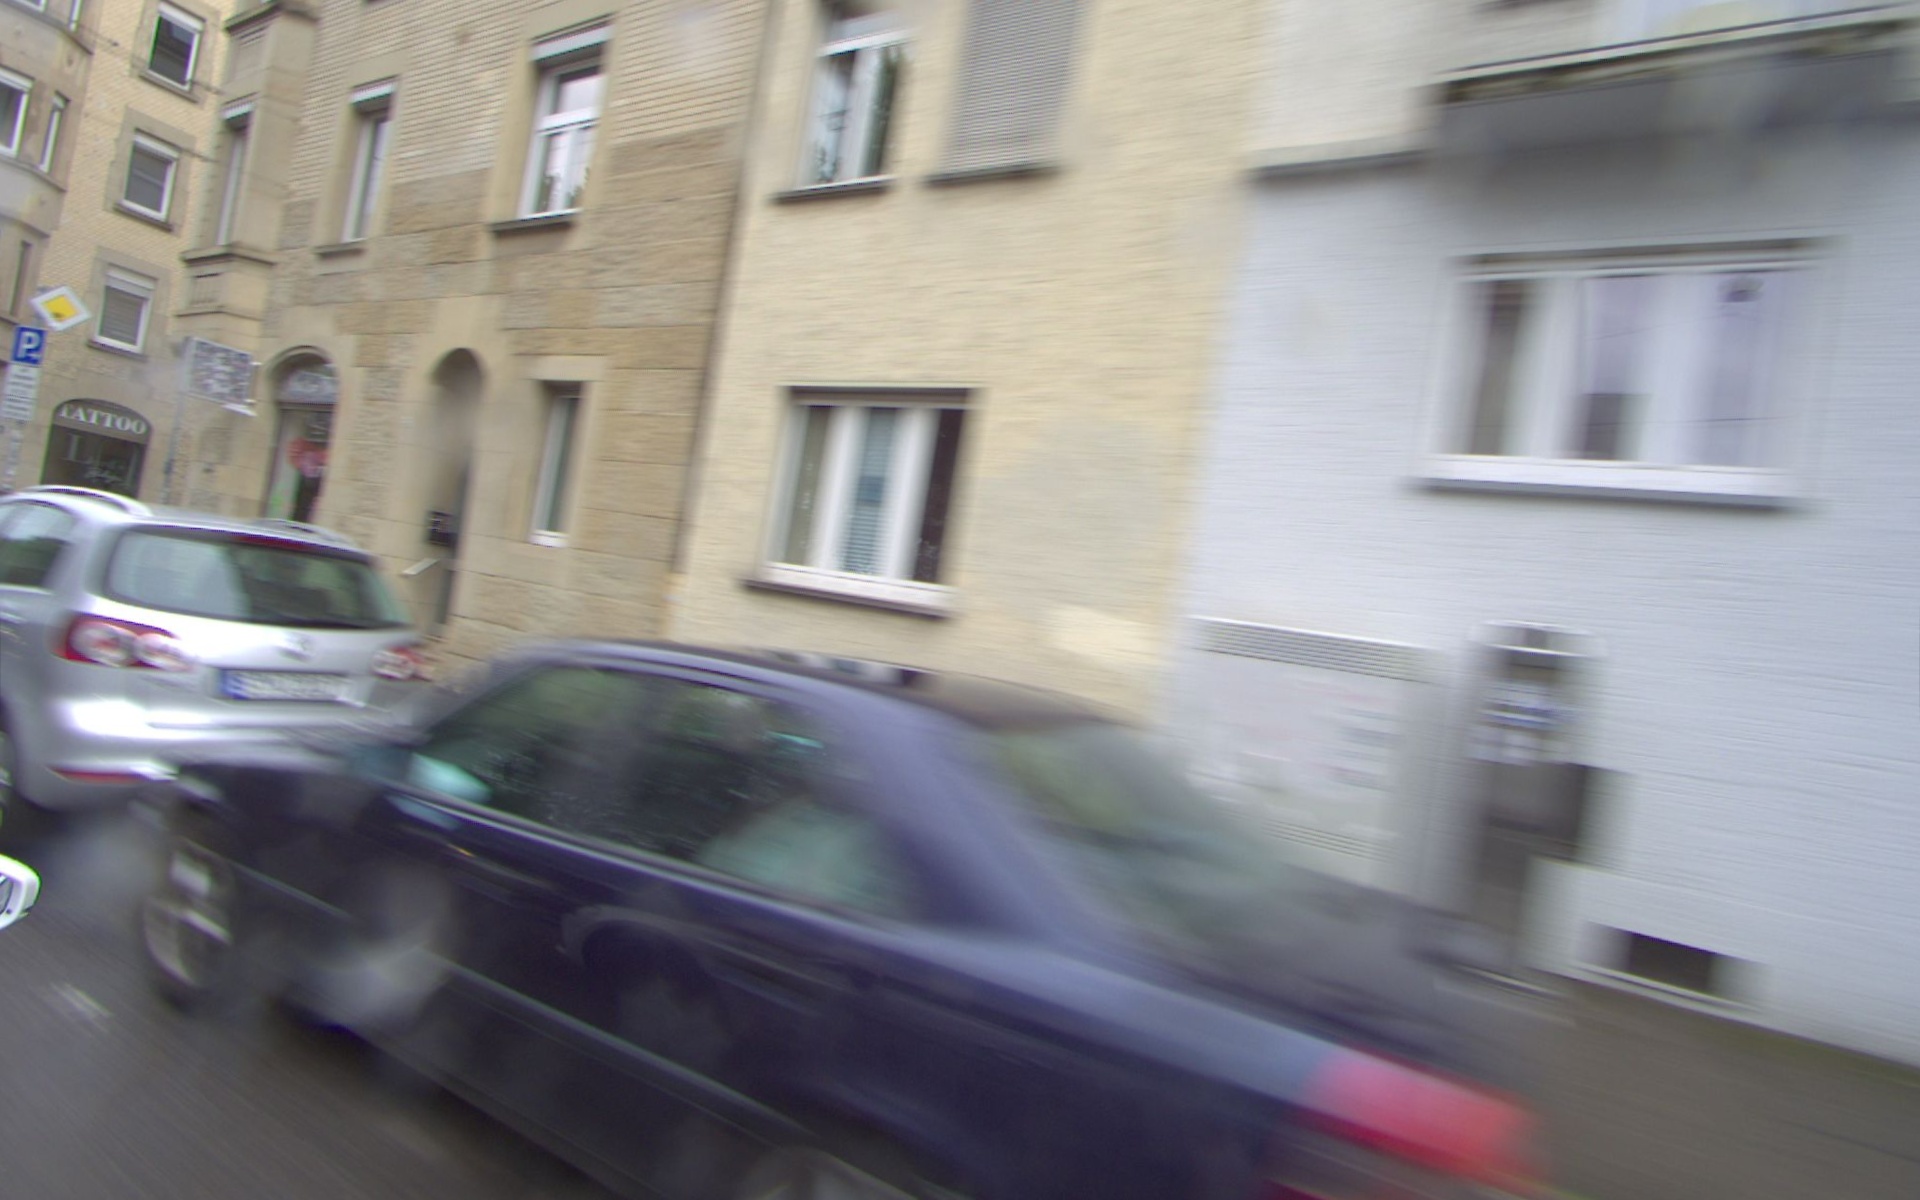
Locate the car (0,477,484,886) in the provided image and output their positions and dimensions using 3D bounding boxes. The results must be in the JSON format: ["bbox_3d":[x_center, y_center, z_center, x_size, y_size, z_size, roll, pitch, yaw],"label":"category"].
[{"bbox_3d":[-4.702,0.233,5.616,3.934,1.546,1.697,7,-3,32],"label":"car"}]

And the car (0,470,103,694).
[{"bbox_3d":[-9.366,-0.398,8.458,4.258,1.686,1.771,7,-3,29],"label":"car"}]

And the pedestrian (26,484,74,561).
[{"bbox_3d":[-21.410,-1.829,23.660,0.617,1.707,0.548,7,-1,36],"label":"pedestrian"}]

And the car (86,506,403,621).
[{"bbox_3d":[-13.354,-0.613,19.066,1.834,1.502,4.455,7,-1,34],"label":"car"}]

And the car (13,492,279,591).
[{"bbox_3d":[-18.706,-1.299,23.329,1.861,1.549,4.343,7,-2,33],"label":"car"}]

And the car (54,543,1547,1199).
[{"bbox_3d":[-0.783,0.797,3.142,4.387,1.361,1.722,7,-3,31],"label":"car"}]
